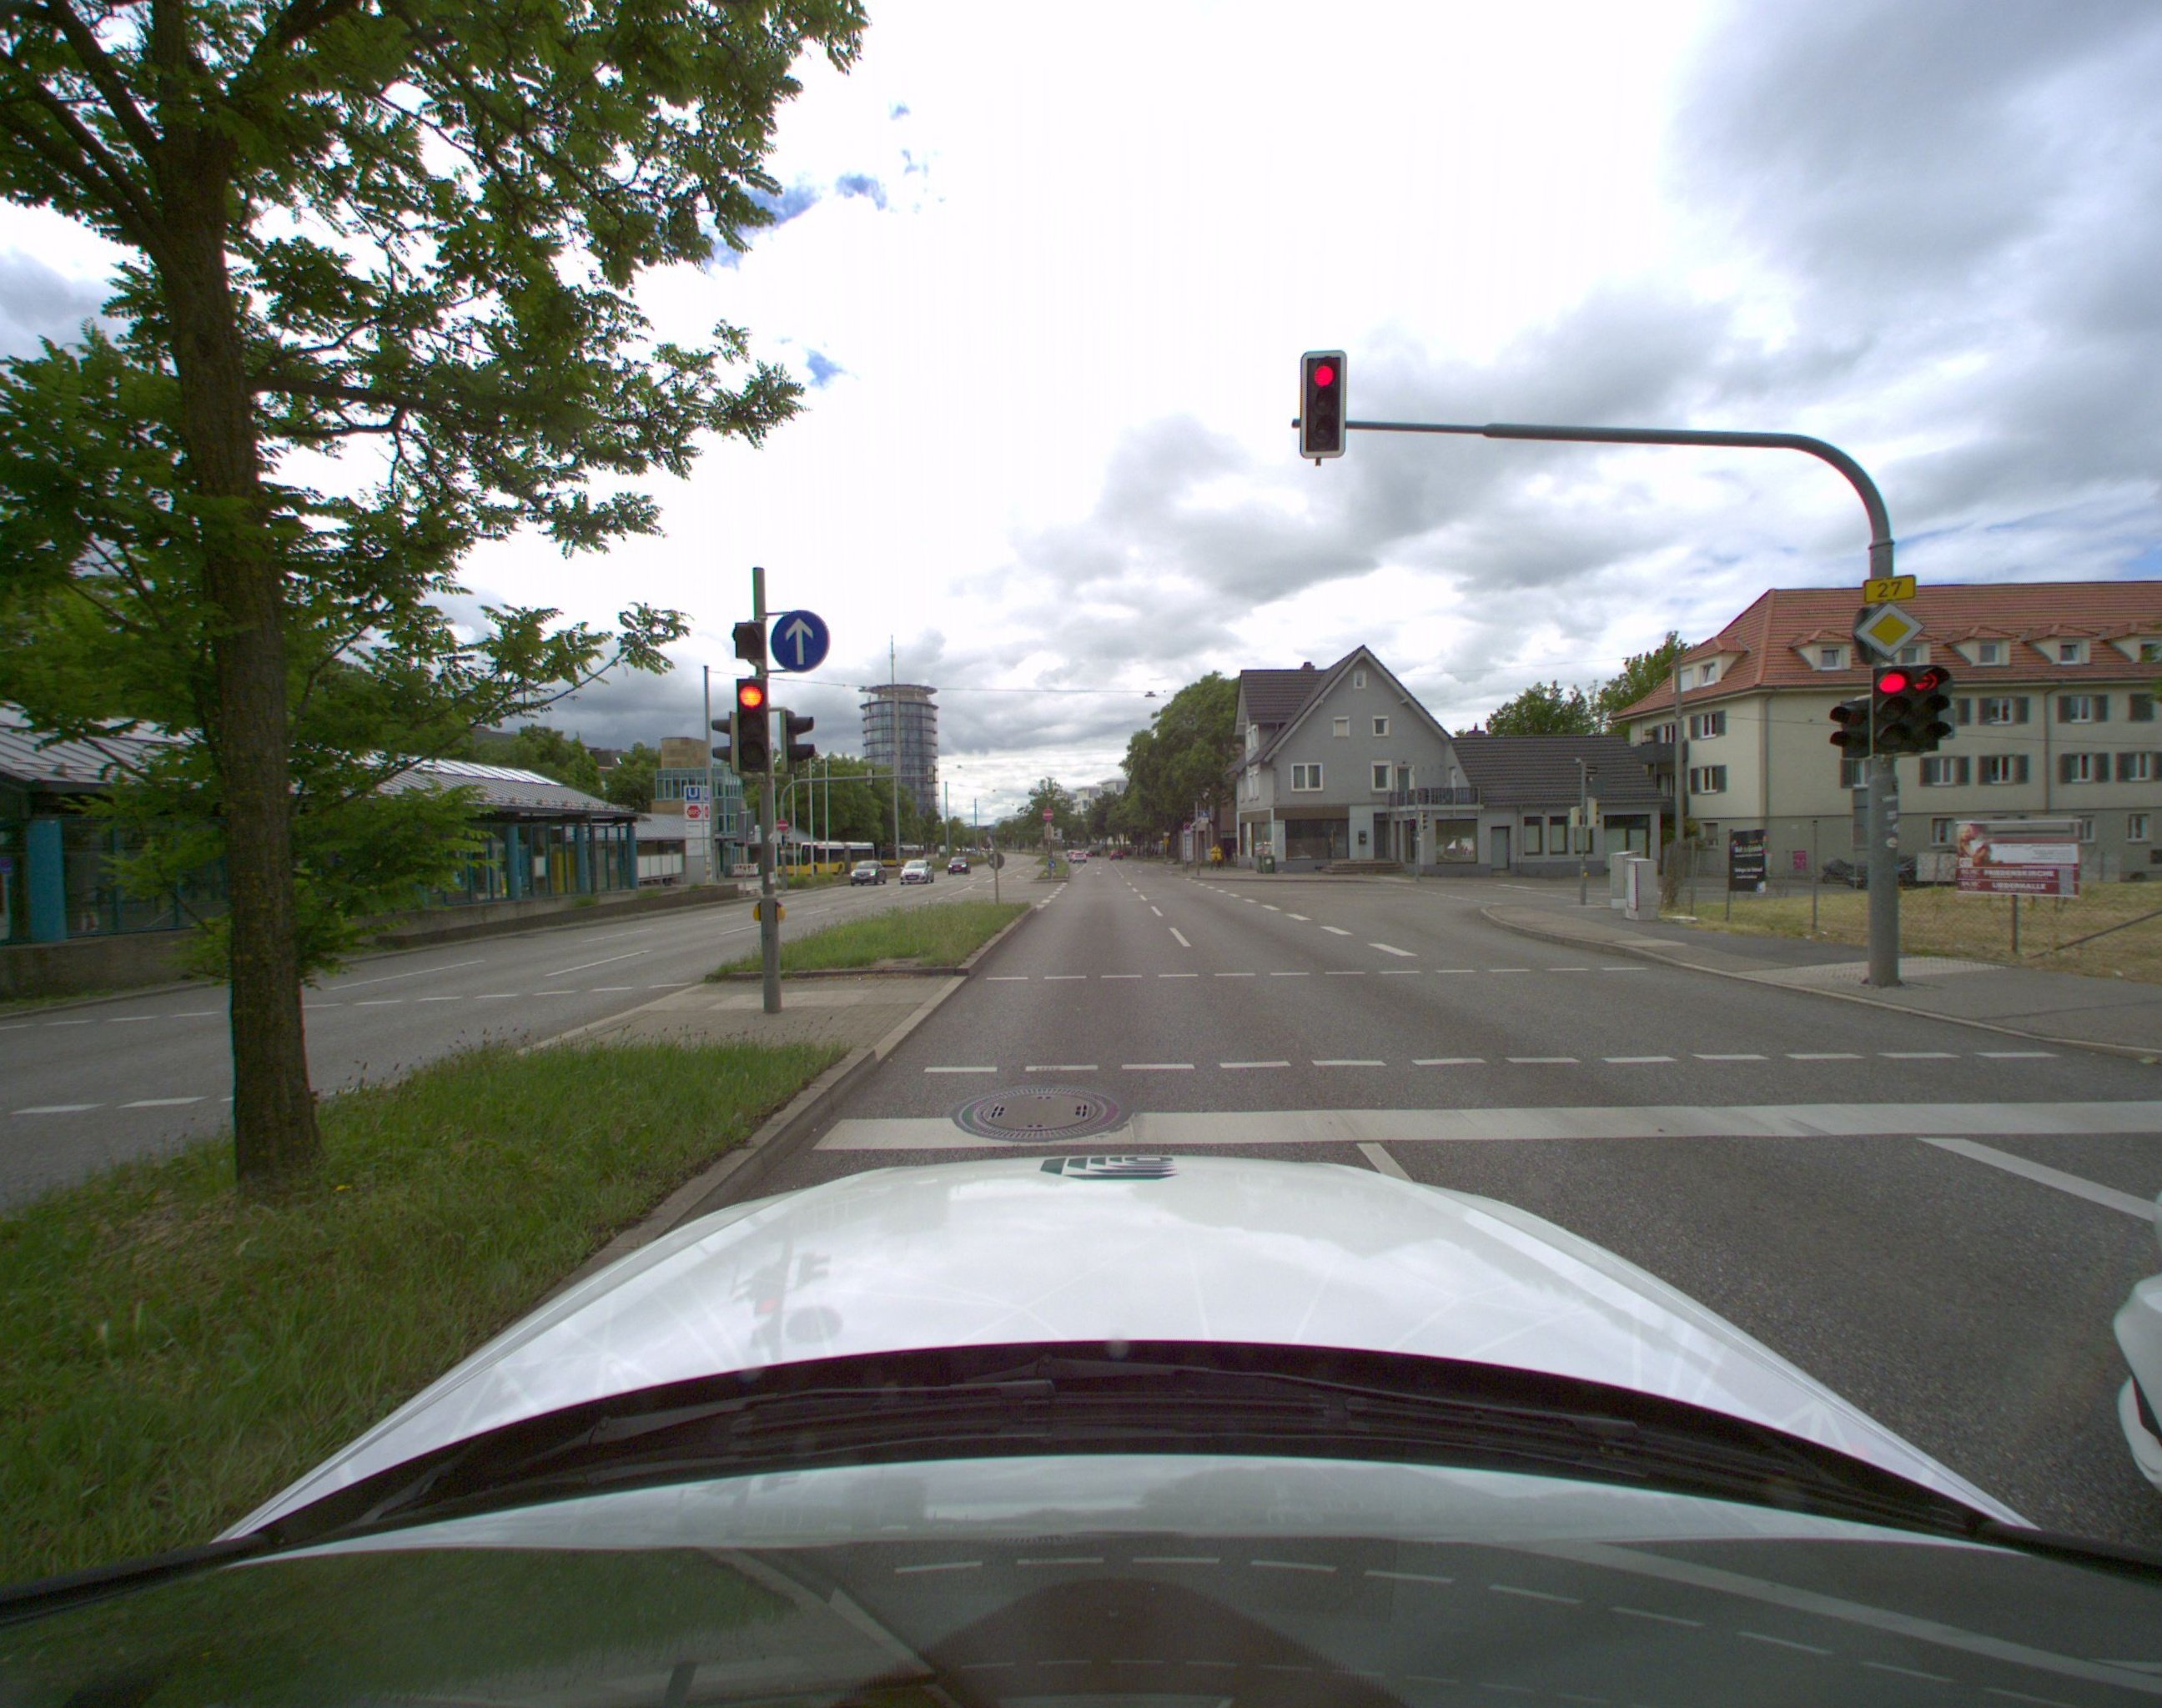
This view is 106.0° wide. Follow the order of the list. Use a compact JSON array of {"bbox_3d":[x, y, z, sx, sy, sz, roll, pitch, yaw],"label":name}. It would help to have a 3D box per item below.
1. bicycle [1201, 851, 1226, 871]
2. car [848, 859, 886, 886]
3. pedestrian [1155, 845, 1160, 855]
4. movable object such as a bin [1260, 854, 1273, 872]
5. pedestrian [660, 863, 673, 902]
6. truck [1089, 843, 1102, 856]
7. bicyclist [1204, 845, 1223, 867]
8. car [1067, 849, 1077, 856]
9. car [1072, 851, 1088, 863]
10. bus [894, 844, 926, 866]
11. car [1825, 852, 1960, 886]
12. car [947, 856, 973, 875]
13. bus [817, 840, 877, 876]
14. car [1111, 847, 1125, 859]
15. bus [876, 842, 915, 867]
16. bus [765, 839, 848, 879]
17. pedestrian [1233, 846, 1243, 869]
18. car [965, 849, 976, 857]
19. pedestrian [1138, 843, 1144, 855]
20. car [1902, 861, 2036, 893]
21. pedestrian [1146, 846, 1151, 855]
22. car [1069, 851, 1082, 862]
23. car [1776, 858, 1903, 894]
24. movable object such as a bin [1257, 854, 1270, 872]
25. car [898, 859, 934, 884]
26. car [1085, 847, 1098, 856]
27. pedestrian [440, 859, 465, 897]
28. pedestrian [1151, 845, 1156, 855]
[{"bbox_3d":[8.379,0.437,51.596,1.071,1.217,2.437,-2,0,-2],"label":"bicycle"},{"bbox_3d":[-13.495,1.152,51.529,1.681,1.578,3.344,-2,0,-4],"label":"car"},{"bbox_3d":[12.824,-0.659,137.039,0.649,1.570,0.669,-2,0,-6],"label":"pedestrian"},{"bbox_3d":[10.030,0.478,43.955,0.527,0.979,0.737,-2,0,2],"label":"movable object such as a bin"},{"bbox_3d":[-17.307,1.178,34.006,0.420,1.591,0.353,-2,0,-28],"label":"pedestrian"},{"bbox_3d":[2.745,-0.818,156.668,2.246,2.416,4.928,-1,0,-3],"label":"truck"},{"bbox_3d":[8.363,0.128,51.513,1.071,1.357,0.627,-2,0,-3],"label":"bicyclist"},{"bbox_3d":[-1.921,-0.356,173.469,1.963,1.420,4.017,-2,0,-3],"label":"car"},{"bbox_3d":[-0.125,0.409,106.463,1.987,1.477,4.256,-2,0,1],"label":"car"},{"bbox_3d":[-26.044,0.127,124.322,3.134,3.225,7.765,-2,0,0],"label":"bus"},{"bbox_3d":[34.709,0.620,34.909,3.975,1.377,1.870,0,0,-1],"label":"car"},{"bbox_3d":[-10.579,0.994,71.260,1.696,1.492,3.562,-2,0,0],"label":"car"},{"bbox_3d":[-23.356,0.375,81.863,2.975,3.270,7.889,-2,0,6],"label":"bus"},{"bbox_3d":[5.466,-0.138,119.708,1.883,1.494,4.098,-3,-1,0],"label":"car"},{"bbox_3d":[-26.101,0.101,115.313,3.135,3.225,10.282,-2,0,0],"label":"bus"},{"bbox_3d":[-24.327,0.408,72.863,2.975,3.250,10.186,-2,0,6],"label":"bus"},{"bbox_3d":[12.545,0.282,65.141,0.701,1.780,0.872,1,-3,10],"label":"pedestrian"},{"bbox_3d":[-27.271,-0.172,201.212,1.958,2.014,4.001,0,-1,2],"label":"car"},{"bbox_3d":[10.095,-0.901,136.463,0.967,2.014,0.981,0,-1,1],"label":"pedestrian"},{"bbox_3d":[39.811,1.021,36.578,3.972,1.377,1.871,0,0,2],"label":"car"},{"bbox_3d":[11.343,-0.620,137.083,0.649,1.570,0.669,-2,0,-6],"label":"pedestrian"},{"bbox_3d":[-0.747,0.318,117.634,1.817,1.540,4.114,-1,0,0],"label":"car"},{"bbox_3d":[34.041,0.985,36.615,3.972,1.537,1.871,0,0,2],"label":"car"},{"bbox_3d":[10.037,0.476,44.746,0.527,0.979,0.737,-2,0,2],"label":"movable object such as a bin"},{"bbox_3d":[-10.341,1.060,51.319,1.680,1.462,3.552,-2,0,-3],"label":"car"},{"bbox_3d":[2.087,-0.474,165.282,2.246,1.757,4.928,-2,0,-3],"label":"car"},{"bbox_3d":[-27.636,1.045,35.820,0.520,1.655,0.709,-1,0,-5],"label":"pedestrian"},{"bbox_3d":[12.144,-0.657,136.899,0.649,1.570,0.669,-2,0,-6],"label":"pedestrian"}]
